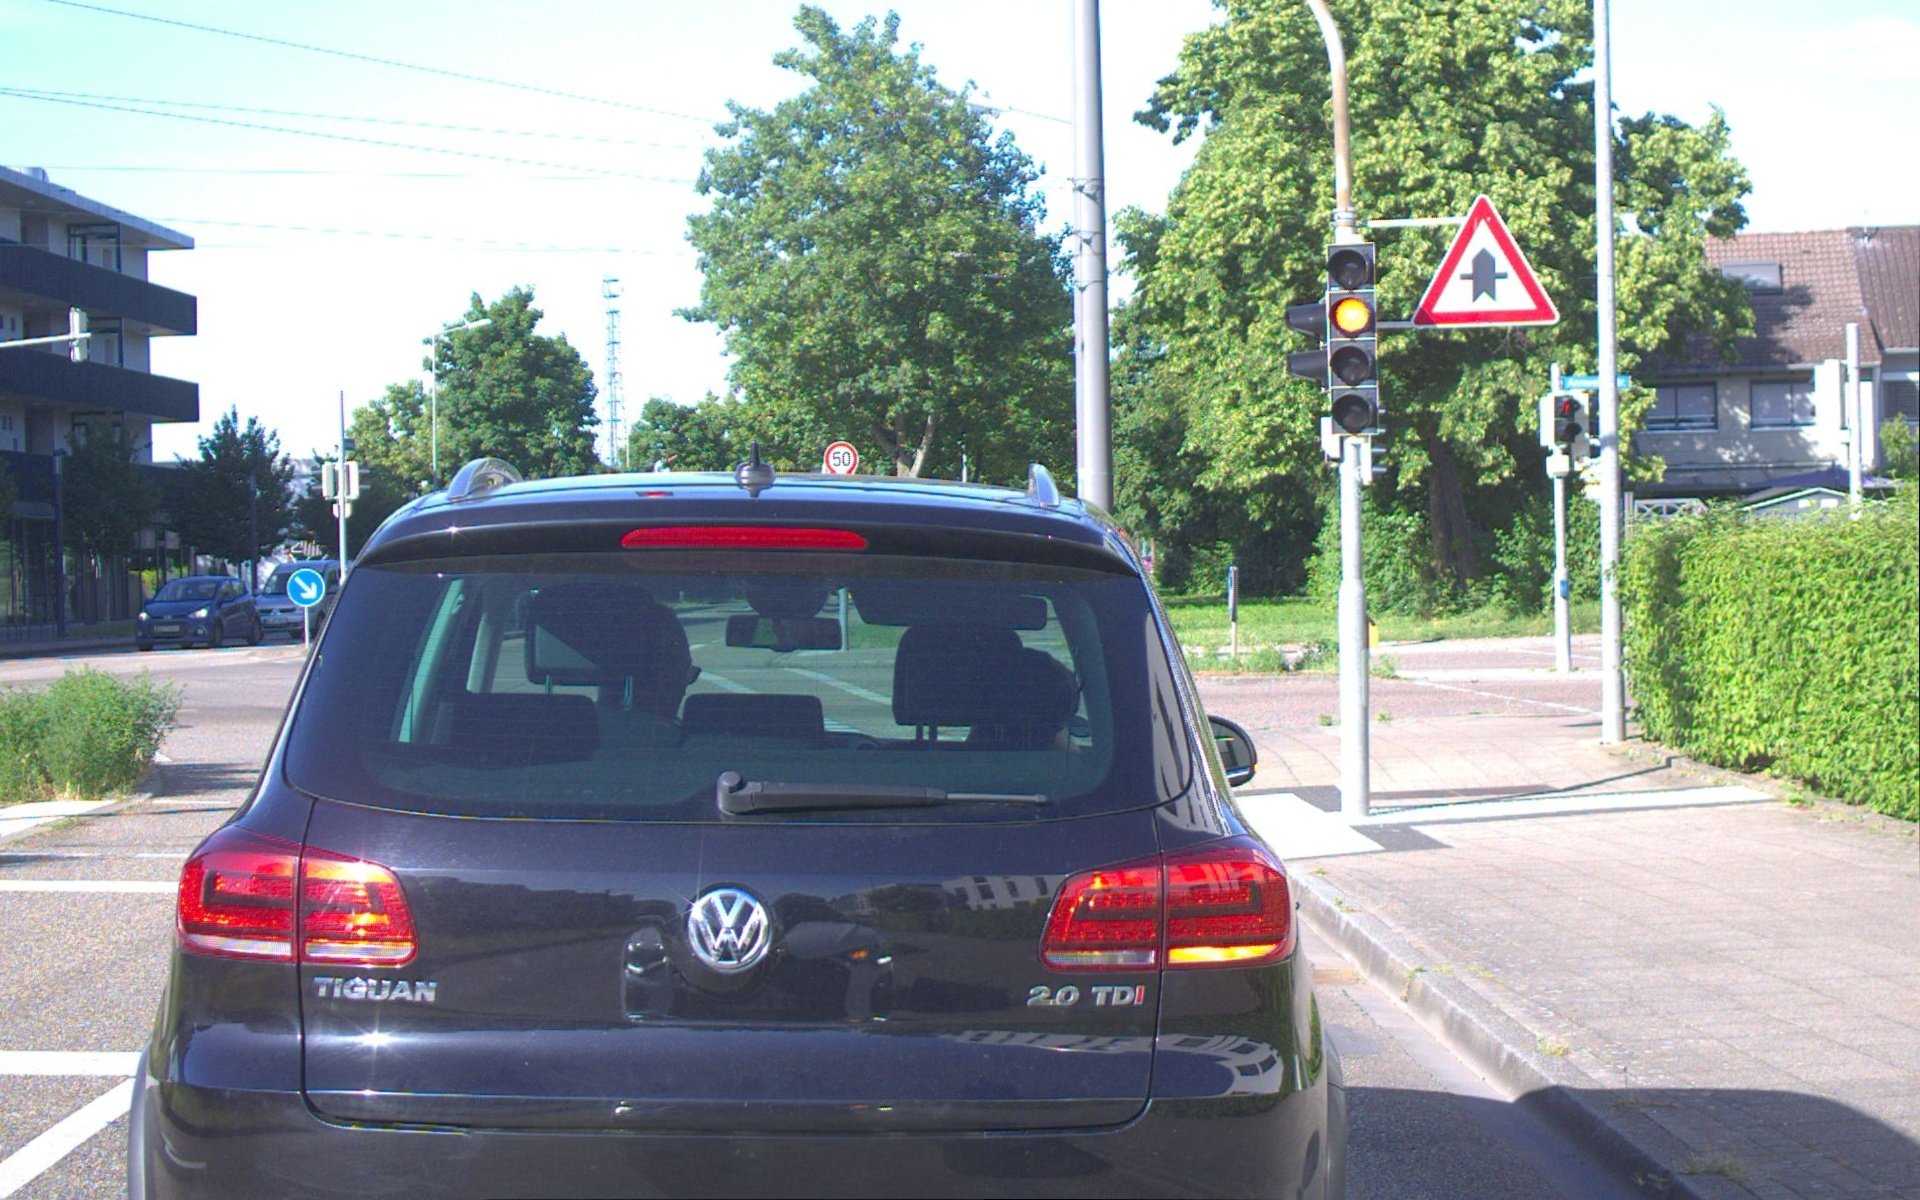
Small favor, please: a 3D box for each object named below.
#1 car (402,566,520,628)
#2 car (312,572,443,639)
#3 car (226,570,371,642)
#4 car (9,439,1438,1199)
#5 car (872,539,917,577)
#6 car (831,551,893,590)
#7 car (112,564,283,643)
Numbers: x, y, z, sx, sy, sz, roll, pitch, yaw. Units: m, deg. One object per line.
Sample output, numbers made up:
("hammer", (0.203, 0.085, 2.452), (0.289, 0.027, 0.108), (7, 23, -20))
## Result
("car", (-13.146, -0.100, 90.851), (1.994, 1.569, 4.338), (1, 1, 7))
("car", (-14.210, 0.109, 84.135), (1.994, 1.569, 4.338), (1, 1, 7))
("car", (-15.013, 0.116, 78.273), (1.994, 1.569, 4.338), (1, 1, 7))
("car", (-0.337, 0.596, 6.531), (1.869, 1.632, 4.000), (1, 1, -1))
("car", (-3.011, -1.956, 158.899), (1.864, 1.714, 3.687), (-1, 1, 1))
("car", (-3.920, -1.194, 137.670), (1.864, 1.480, 4.109), (-1, 1, 7))
("car", (-15.809, 0.046, 71.486), (1.994, 1.569, 4.337), (1, 1, 9))
